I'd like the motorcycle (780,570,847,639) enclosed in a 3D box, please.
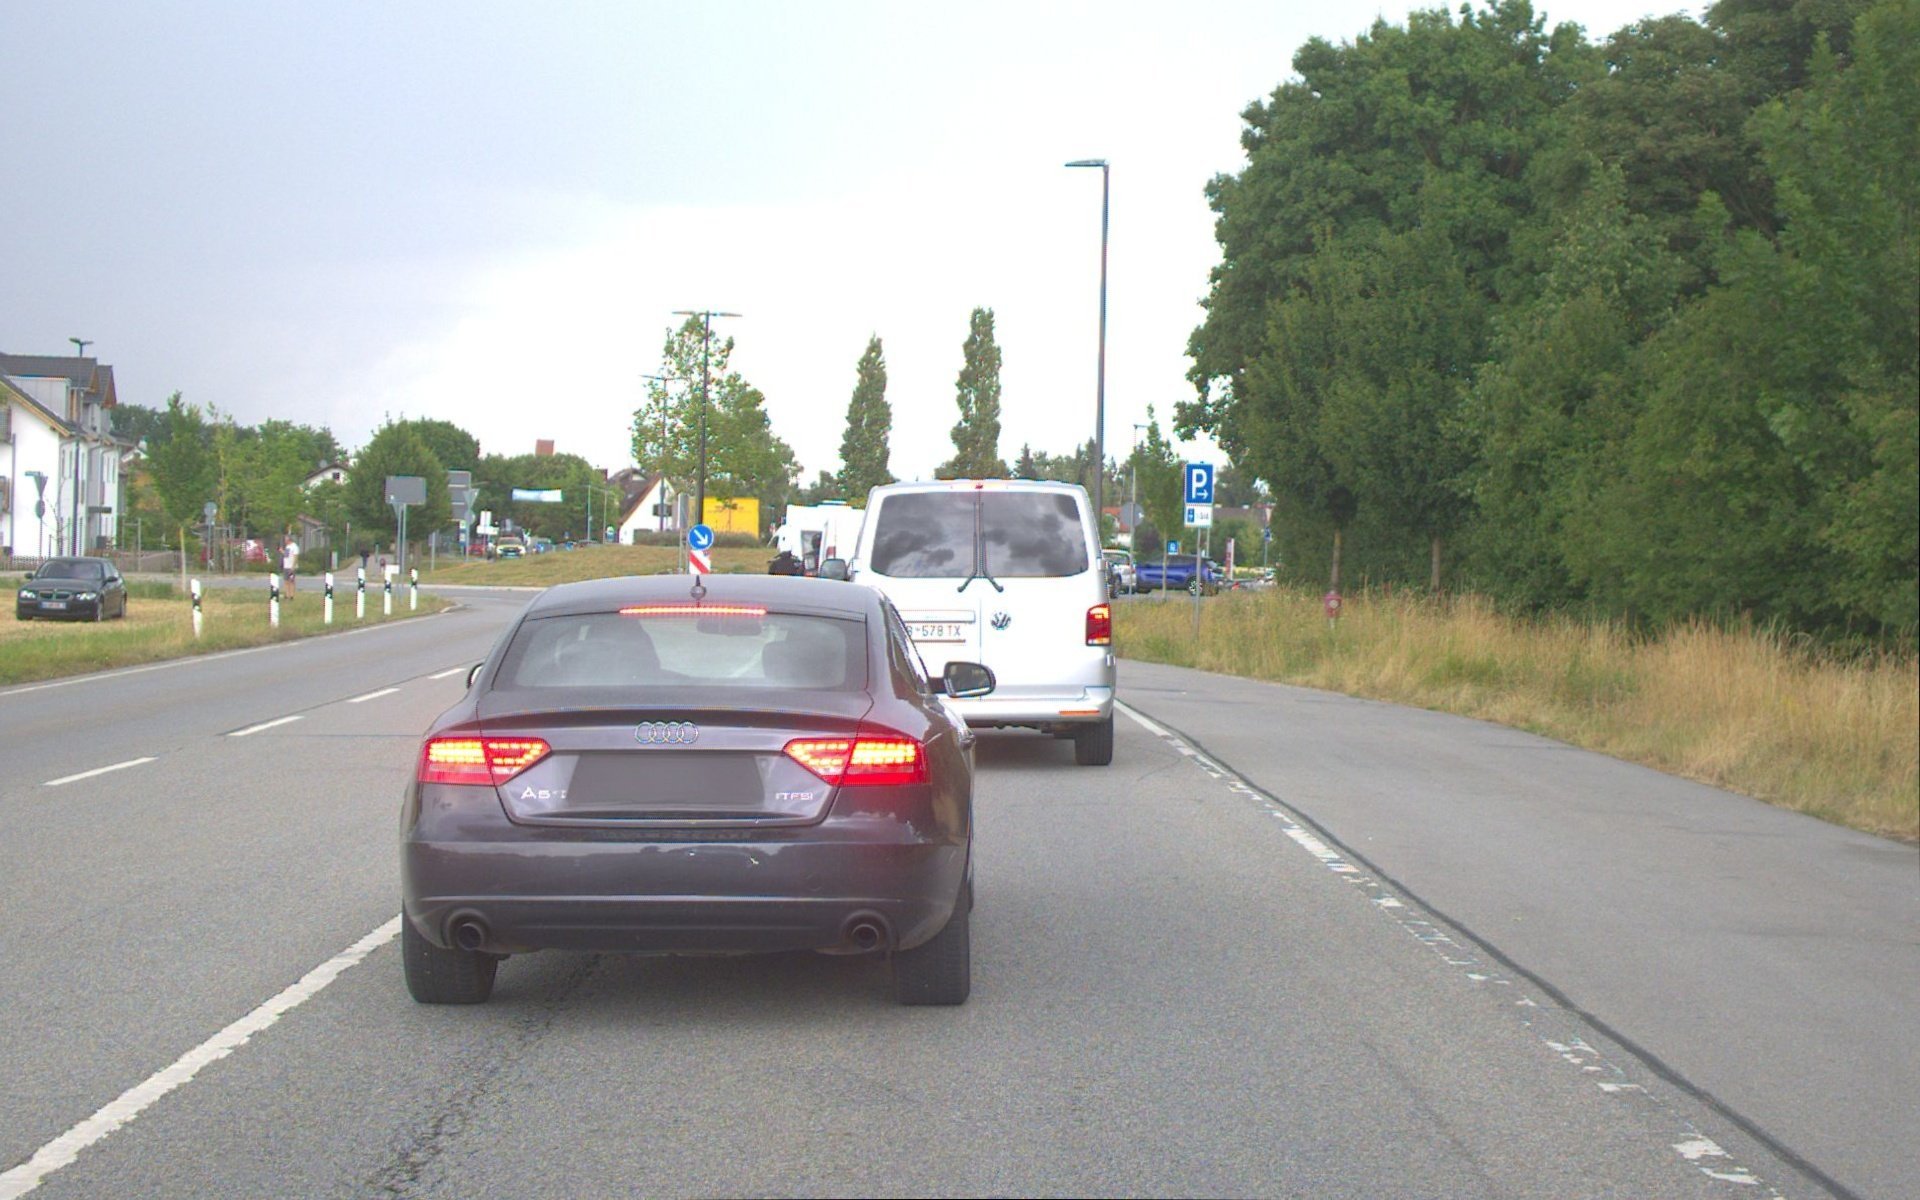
[{"bbox_3d":[-2.430,0.062,57.265,0.920,1.090,2.188,2,1,2],"label":"motorcycle"}]

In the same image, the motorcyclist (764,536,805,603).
[{"bbox_3d":[-3.618,-0.629,70.829,0.785,1.352,0.854,1,1,-1],"label":"motorcyclist"}]

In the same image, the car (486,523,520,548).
[{"bbox_3d":[-31.085,-4.376,233.882,1.993,1.636,4.001,2,1,-4],"label":"car"}]

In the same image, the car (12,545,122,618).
[{"bbox_3d":[-19.321,-0.426,74.515,1.993,1.437,4.001,1,2,-11],"label":"car"}]

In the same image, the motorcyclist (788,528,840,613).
[{"bbox_3d":[-2.422,-0.495,57.132,0.772,1.379,0.820,2,1,2],"label":"motorcyclist"}]

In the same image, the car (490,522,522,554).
[{"bbox_3d":[-29.818,-4.050,225.793,1.993,2.007,4.001,2,1,-7],"label":"car"}]

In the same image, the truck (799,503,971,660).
[{"bbox_3d":[-0.974,-0.275,47.630,2.194,2.007,5.085,1,1,0],"label":"truck"}]

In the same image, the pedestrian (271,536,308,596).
[{"bbox_3d":[-17.758,-0.894,91.022,0.701,1.580,0.657,1,1,17],"label":"pedestrian"}]

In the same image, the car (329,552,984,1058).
[{"bbox_3d":[-0.880,0.574,12.204,1.875,1.449,4.177,1,1,1],"label":"car"}]

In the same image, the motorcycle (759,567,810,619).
[{"bbox_3d":[-3.606,-0.155,70.811,0.944,1.016,2.284,1,1,-1],"label":"motorcycle"}]

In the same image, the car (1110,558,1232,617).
[{"bbox_3d":[7.685,-0.465,125.123,3.991,2.007,1.998,2,1,21],"label":"car"}]

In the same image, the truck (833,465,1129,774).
[{"bbox_3d":[0.150,0.089,24.904,1.904,1.991,4.628,1,1,0],"label":"truck"}]

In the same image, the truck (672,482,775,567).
[{"bbox_3d":[-10.767,-3.426,155.354,3.575,3.566,9.959,2,1,-9],"label":"truck"}]

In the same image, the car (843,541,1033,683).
[{"bbox_3d":[-0.254,0.104,38.552,1.993,1.480,4.000,1,1,0],"label":"car"}]

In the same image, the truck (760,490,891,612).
[{"bbox_3d":[-3.261,-1.173,82.047,2.626,2.728,5.868,2,1,-6],"label":"truck"}]
